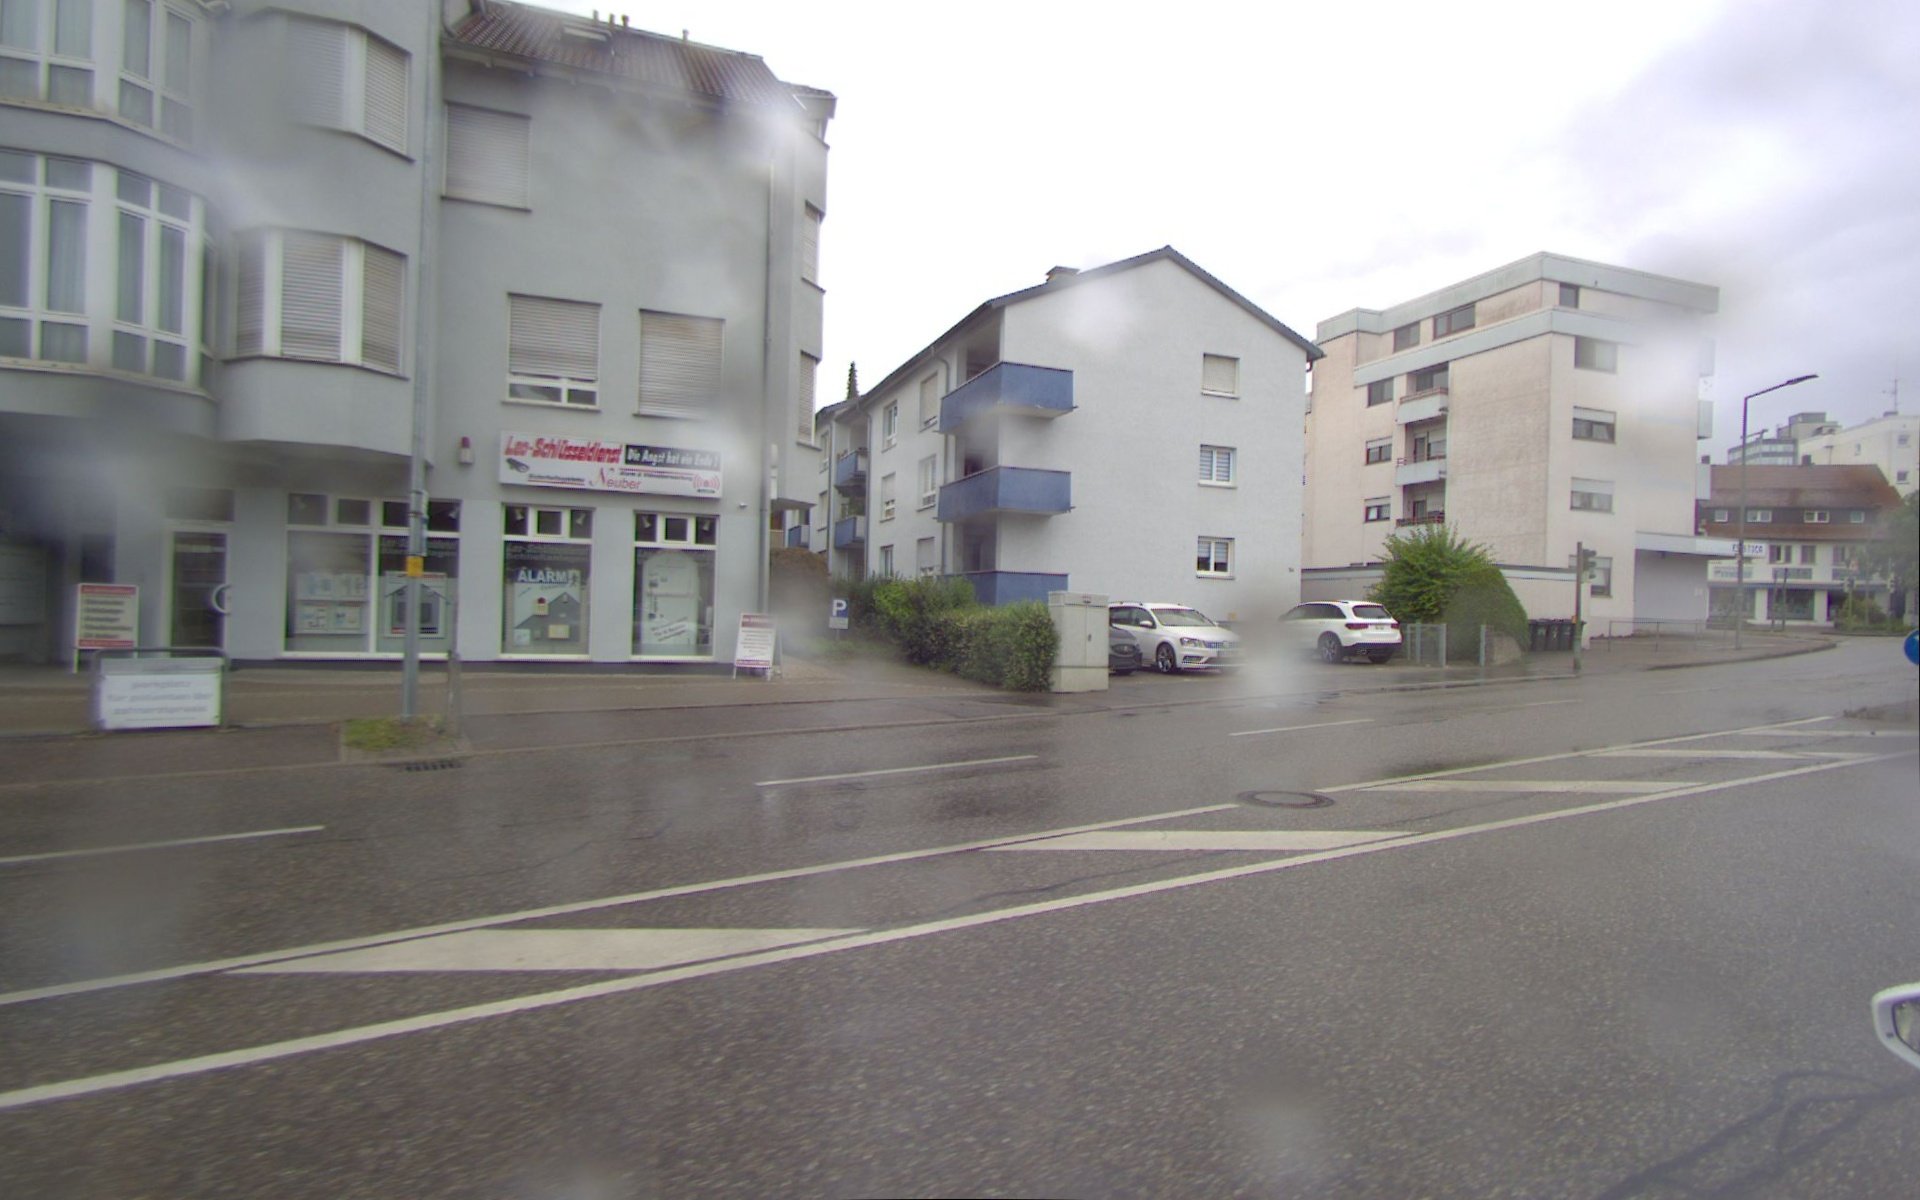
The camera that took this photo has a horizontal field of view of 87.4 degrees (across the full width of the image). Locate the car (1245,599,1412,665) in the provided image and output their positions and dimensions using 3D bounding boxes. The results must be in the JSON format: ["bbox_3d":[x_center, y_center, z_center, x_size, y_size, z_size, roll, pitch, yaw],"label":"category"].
[{"bbox_3d":[9.971,0.809,27.578,1.910,1.658,4.444,0,0,-20],"label":"car"}]

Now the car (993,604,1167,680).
[{"bbox_3d":[2.415,0.811,21.216,1.878,1.430,3.975,0,0,-25],"label":"car"}]

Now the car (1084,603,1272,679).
[{"bbox_3d":[4.615,0.819,21.952,1.878,1.493,4.207,0,0,-25],"label":"car"}]
